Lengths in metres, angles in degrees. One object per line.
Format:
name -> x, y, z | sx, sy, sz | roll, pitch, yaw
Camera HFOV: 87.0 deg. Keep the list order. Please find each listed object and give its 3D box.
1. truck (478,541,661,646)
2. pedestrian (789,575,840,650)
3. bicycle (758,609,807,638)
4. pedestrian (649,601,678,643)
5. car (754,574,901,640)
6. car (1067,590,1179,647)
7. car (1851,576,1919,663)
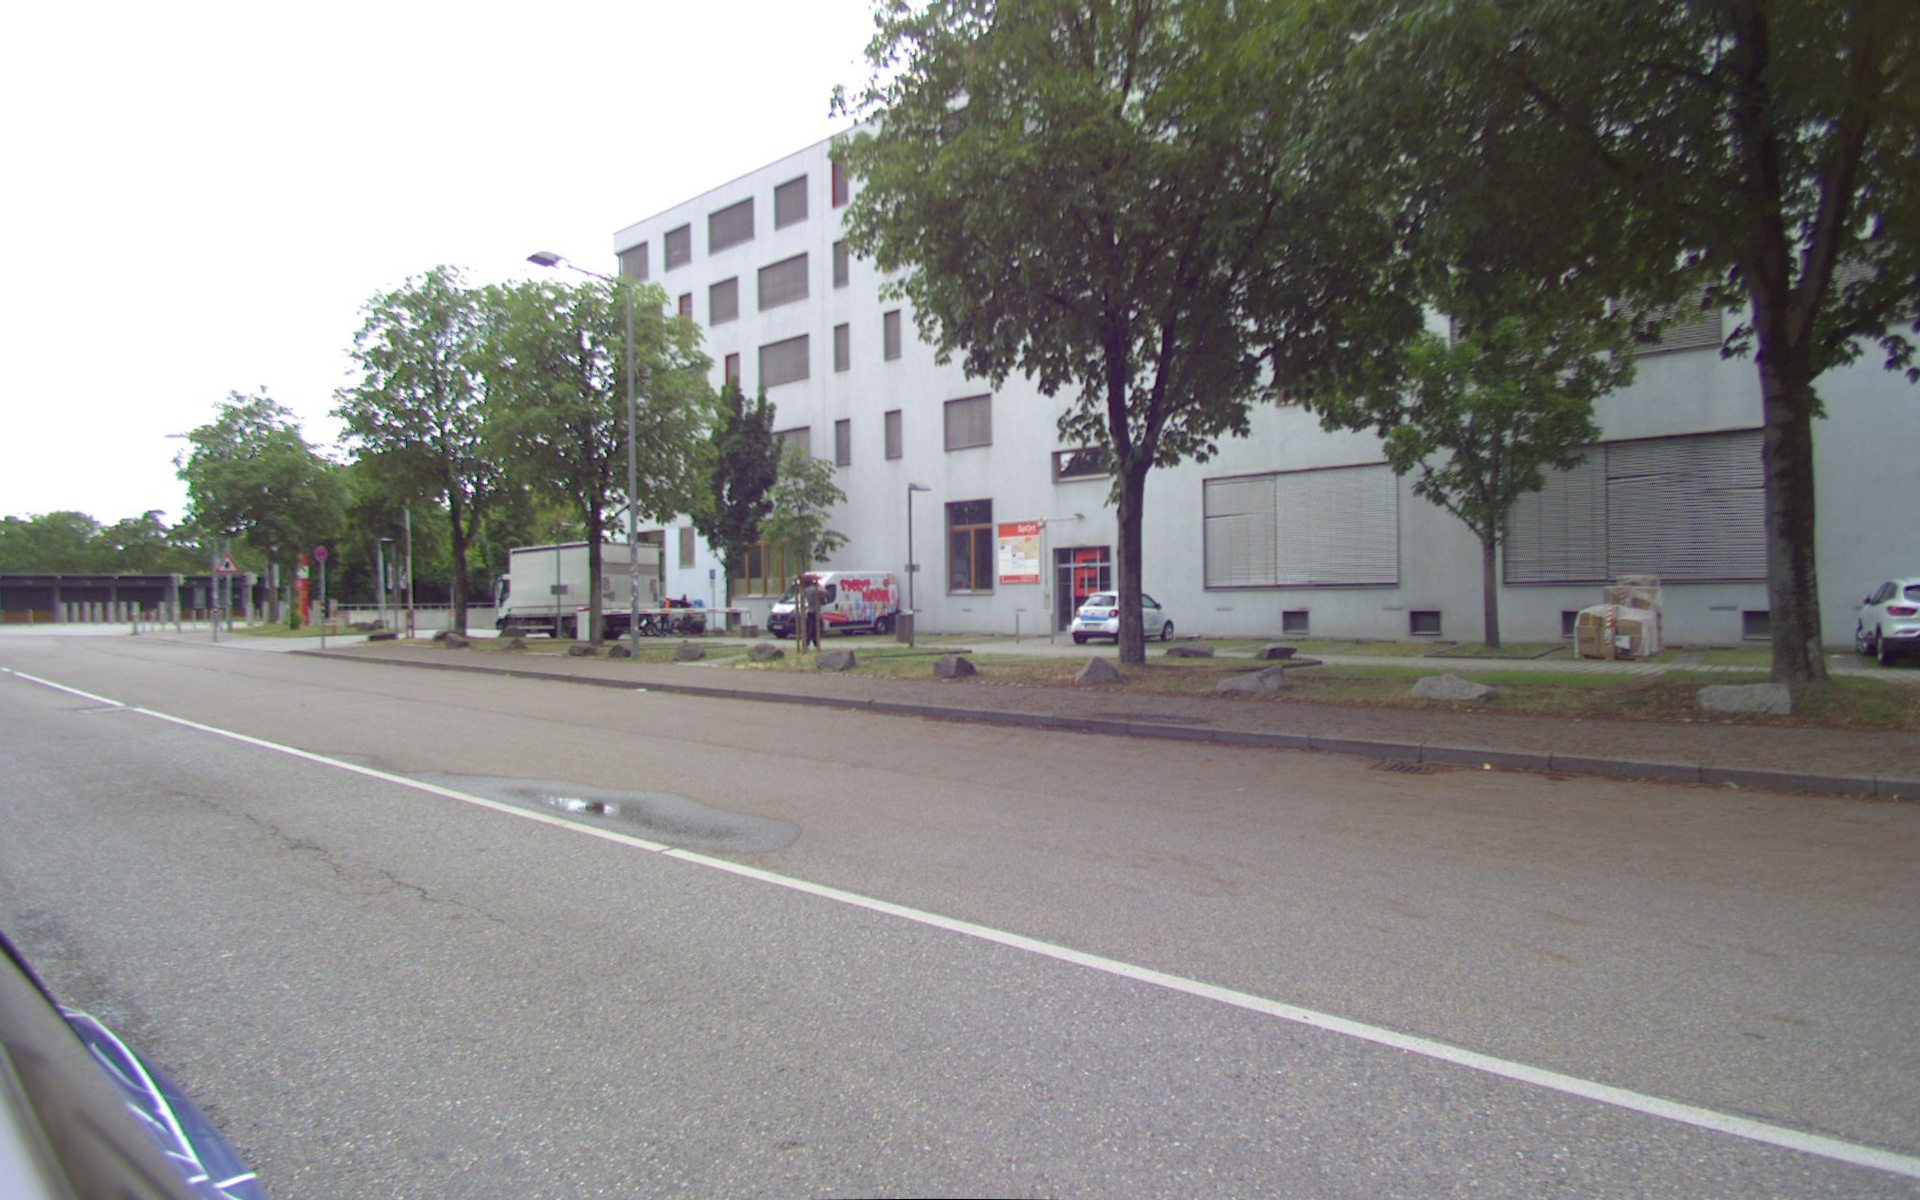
truck -> -15.081, -0.269, 38.730 | 8.354, 3.627, 2.651 | 0, 1, 38
pedestrian -> -3.342, 0.277, 23.289 | 0.785, 1.684, 0.836 | 0, 1, 35
bicycle -> -7.252, 0.956, 41.431 | 0.614, 1.078, 2.002 | 0, 2, 44
pedestrian -> -11.635, 0.871, 39.720 | 0.879, 1.618, 0.677 | 0, 1, 13
car -> -4.880, 0.173, 38.103 | 2.078, 2.296, 5.569 | 0, 1, 40
car -> 4.852, 0.489, 29.896 | 1.691, 1.511, 3.575 | 0, 1, 40
car -> 17.934, 0.305, 18.646 | 1.896, 1.467, 3.962 | 0, 1, 36
